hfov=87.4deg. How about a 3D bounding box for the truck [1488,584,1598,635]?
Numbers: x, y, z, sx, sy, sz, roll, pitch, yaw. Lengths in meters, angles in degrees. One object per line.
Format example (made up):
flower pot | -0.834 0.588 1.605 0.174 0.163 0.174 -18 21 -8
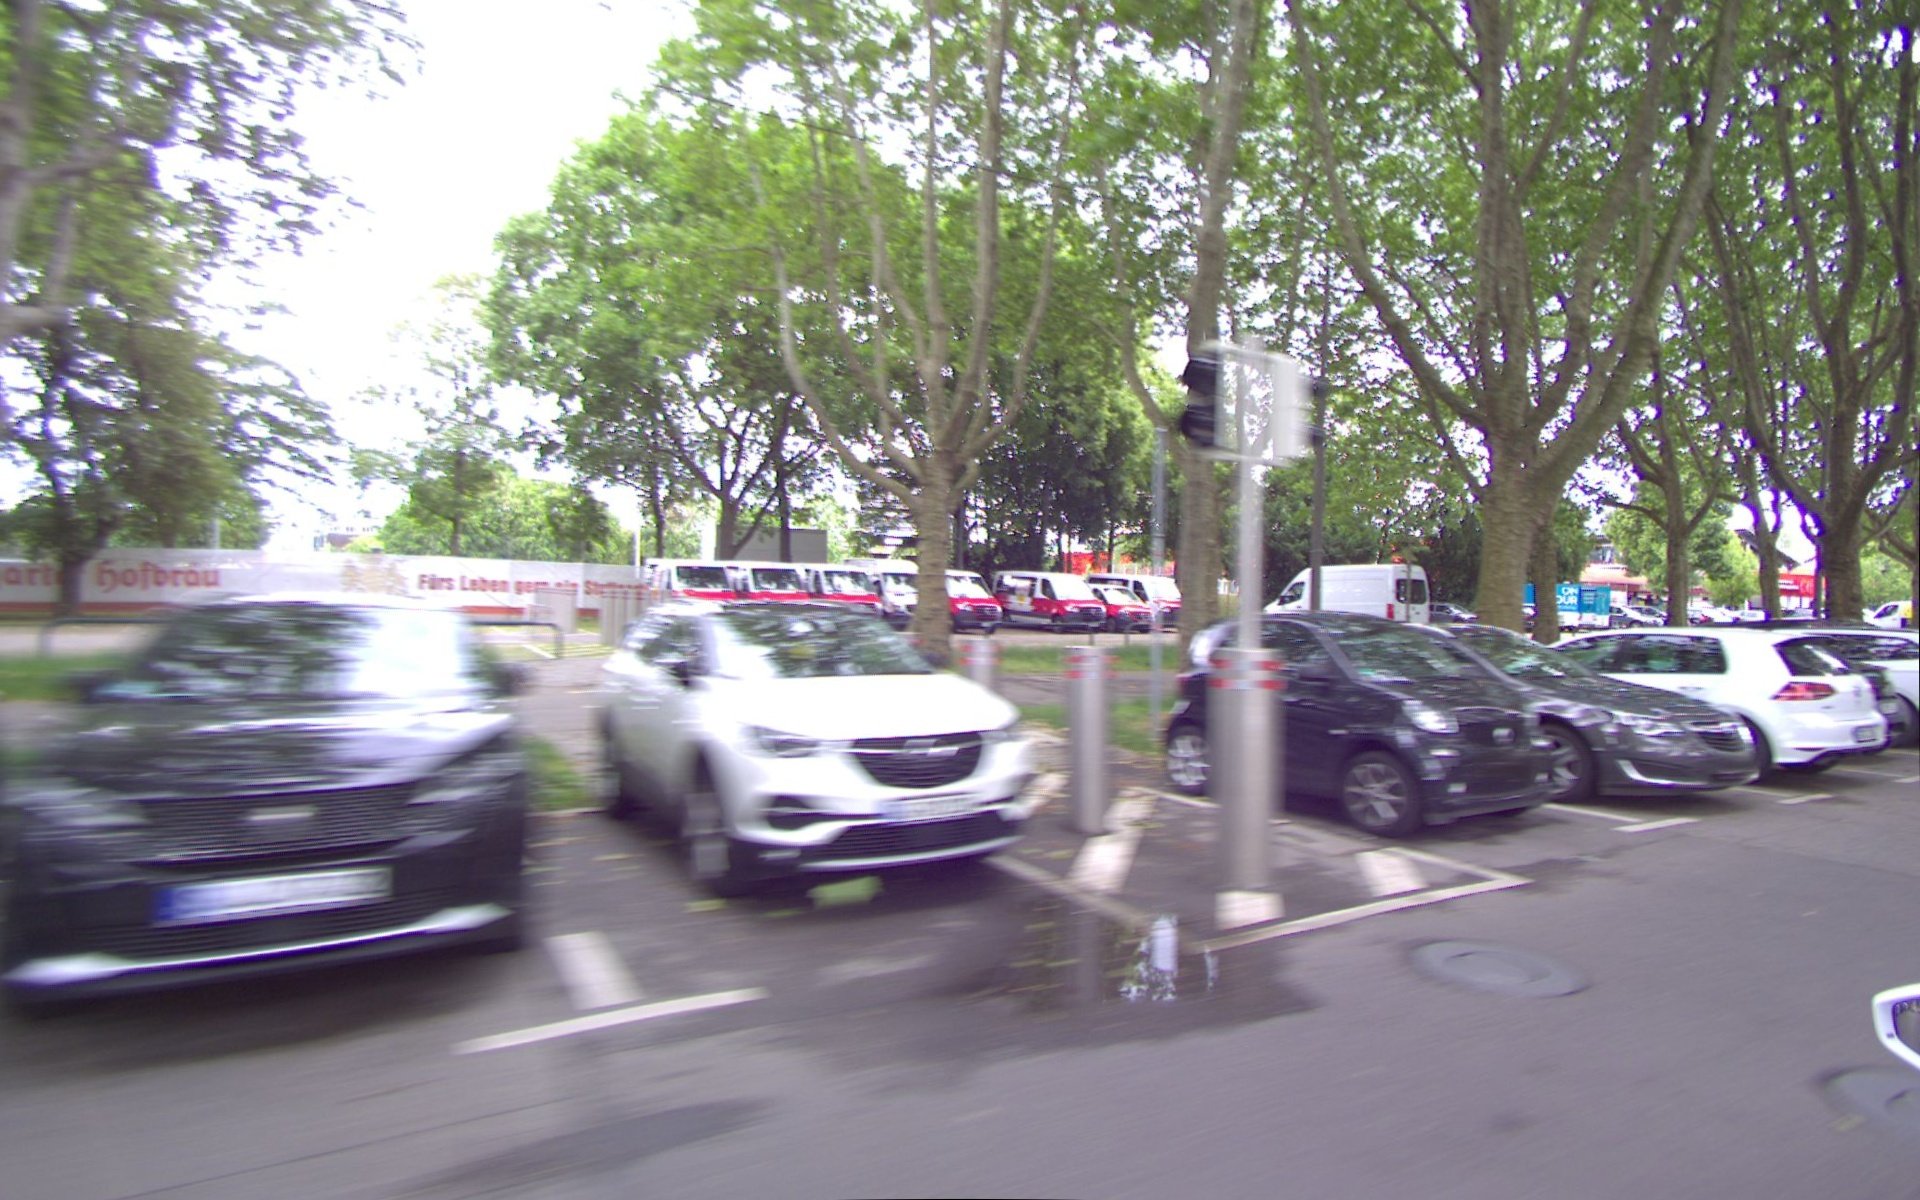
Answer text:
truck | 34.184 0.496 59.072 1.905 2.779 5.288 1 1 -29

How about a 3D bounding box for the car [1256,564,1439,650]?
car | 12.792 0.159 33.630 1.975 2.632 5.761 1 1 -28

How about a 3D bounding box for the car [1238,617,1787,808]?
car | 4.911 0.869 9.626 1.676 1.383 4.377 1 -1 -32

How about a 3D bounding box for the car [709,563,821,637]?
car | -6.768 -0.070 34.263 1.976 2.283 5.974 1 1 -29

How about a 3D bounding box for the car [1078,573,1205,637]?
car | 7.682 0.146 43.173 1.976 2.561 5.974 1 1 -29

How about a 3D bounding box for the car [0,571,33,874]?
car | -5.225 0.620 3.554 1.776 1.629 4.053 1 -1 -27

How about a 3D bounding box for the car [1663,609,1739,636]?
car | 48.916 1.457 66.399 1.518 1.611 3.735 1 1 -31

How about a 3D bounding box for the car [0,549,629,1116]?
car | -3.037 0.715 4.980 1.814 1.629 3.806 1 -1 -32

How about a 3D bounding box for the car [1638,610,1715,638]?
car | 46.608 1.529 65.407 1.518 1.611 3.735 1 1 -31

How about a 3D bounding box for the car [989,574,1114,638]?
car | 3.555 0.165 40.498 1.976 2.361 5.974 1 1 -29

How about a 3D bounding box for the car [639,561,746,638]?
car | -8.881 -0.071 32.918 1.976 2.283 5.974 1 1 -29

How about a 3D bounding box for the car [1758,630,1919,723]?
car | 15.776 1.232 16.511 1.781 1.448 3.808 1 -1 -31

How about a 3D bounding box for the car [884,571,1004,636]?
car | -0.740 0.074 38.264 1.976 2.270 5.974 1 1 -29

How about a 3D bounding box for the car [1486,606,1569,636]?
car | 32.189 1.178 57.060 1.692 1.506 3.783 1 1 -30

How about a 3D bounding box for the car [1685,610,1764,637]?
car | 51.739 1.556 68.064 1.668 1.611 3.980 1 1 -21

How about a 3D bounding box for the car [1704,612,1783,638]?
car | 53.917 1.686 69.219 1.668 1.611 3.980 1 1 -21

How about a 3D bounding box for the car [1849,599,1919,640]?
car | 54.969 1.162 58.088 1.518 2.262 5.052 1 1 -30

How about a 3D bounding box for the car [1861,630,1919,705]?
car | 19.763 1.295 18.916 1.671 1.448 3.816 1 -1 -25

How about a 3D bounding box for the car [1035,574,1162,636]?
car | 5.619 0.144 41.697 1.976 2.336 5.974 1 1 -29

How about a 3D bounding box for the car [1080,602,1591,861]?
car | 2.845 0.876 8.413 1.676 1.629 3.806 1 -1 -32

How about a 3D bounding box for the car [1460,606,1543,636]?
car | 30.178 1.135 56.056 1.659 1.506 3.783 1 1 -30

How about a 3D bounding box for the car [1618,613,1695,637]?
car | 44.539 1.600 64.265 1.518 1.368 3.735 1 1 -31

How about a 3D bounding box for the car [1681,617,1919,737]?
car | 13.303 1.079 14.940 1.839 1.629 3.805 1 -1 -33

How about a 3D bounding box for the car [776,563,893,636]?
car | -4.558 -0.070 35.434 1.976 2.349 5.974 1 1 -29

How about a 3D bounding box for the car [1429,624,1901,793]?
car | 7.258 0.982 10.733 1.676 1.448 3.806 1 -1 -32

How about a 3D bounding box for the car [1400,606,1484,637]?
car | 25.731 1.134 53.720 1.659 1.506 3.783 1 1 -30

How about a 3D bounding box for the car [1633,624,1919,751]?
car | 11.608 1.096 13.611 1.676 1.517 3.806 1 -1 -32

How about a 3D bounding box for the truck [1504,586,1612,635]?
truck | 36.226 0.598 60.997 2.180 2.779 5.212 1 1 -29

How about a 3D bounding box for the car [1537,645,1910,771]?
car | 9.110 1.198 12.225 1.568 1.218 3.297 1 -1 -33

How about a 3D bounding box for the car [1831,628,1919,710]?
car | 18.006 1.222 17.619 1.676 1.448 3.806 1 -1 -32

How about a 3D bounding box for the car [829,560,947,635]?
car | -2.797 -0.164 37.372 1.976 2.561 5.974 1 1 -29

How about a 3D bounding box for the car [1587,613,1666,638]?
car | 40.533 1.533 61.177 1.518 1.368 3.736 1 1 -31

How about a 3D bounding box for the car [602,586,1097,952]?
car | -1.035 0.809 6.644 1.676 1.629 4.022 2 -2 -32
